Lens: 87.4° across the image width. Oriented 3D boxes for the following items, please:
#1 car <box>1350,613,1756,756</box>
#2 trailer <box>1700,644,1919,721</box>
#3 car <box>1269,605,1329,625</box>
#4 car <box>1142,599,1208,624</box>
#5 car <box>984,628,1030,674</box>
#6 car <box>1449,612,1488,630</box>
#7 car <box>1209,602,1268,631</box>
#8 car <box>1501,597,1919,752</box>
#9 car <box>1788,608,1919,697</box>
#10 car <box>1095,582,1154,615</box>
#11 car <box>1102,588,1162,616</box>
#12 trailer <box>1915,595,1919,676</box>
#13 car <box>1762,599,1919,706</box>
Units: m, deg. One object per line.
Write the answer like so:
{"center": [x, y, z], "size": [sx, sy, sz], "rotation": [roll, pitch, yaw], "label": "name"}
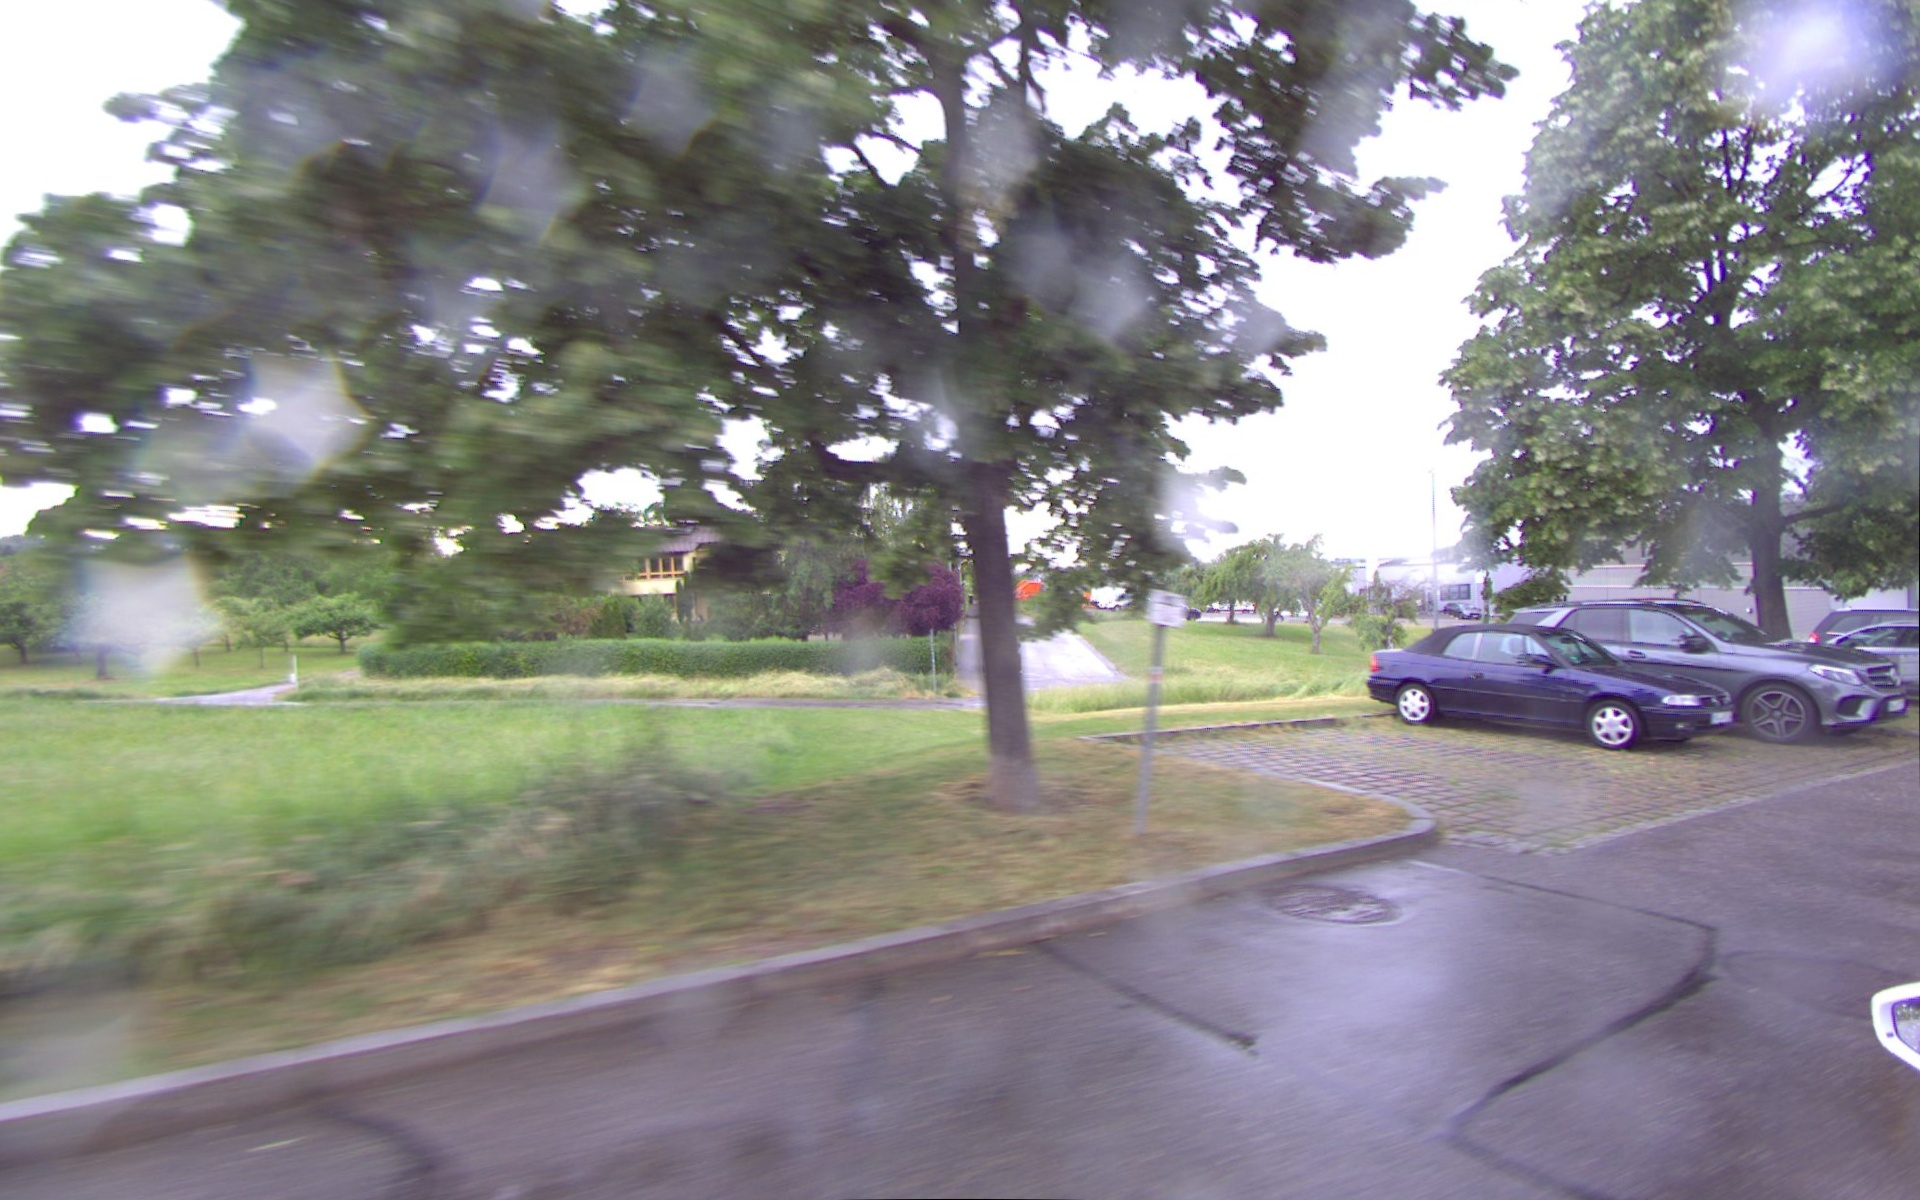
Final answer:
{"center": [7.429, 0.951, 13.011], "size": [1.755, 1.450, 4.187], "rotation": [2, -1, -33], "label": "car"}
{"center": [14.706, 1.314, 16.266], "size": [1.975, 0.974, 3.926], "rotation": [1, 0, -27], "label": "trailer"}
{"center": [29.729, 1.368, 88.132], "size": [4.527, 1.670, 2.292], "rotation": [0, -2, 2], "label": "car"}
{"center": [18.940, 1.030, 88.739], "size": [5.314, 2.000, 2.292], "rotation": [1, -2, 2], "label": "car"}
{"center": [2.403, 2.622, 52.286], "size": [1.893, 2.249, 4.502], "rotation": [0, -2, -4], "label": "car"}
{"center": [49.118, 2.013, 97.095], "size": [1.960, 1.639, 4.001], "rotation": [1, 0, 3], "label": "car"}
{"center": [34.270, 2.110, 123.749], "size": [6.596, 3.470, 2.546], "rotation": [0, -2, 2], "label": "car"}
{"center": [10.070, 0.887, 13.712], "size": [2.020, 1.744, 4.348], "rotation": [2, -1, -29], "label": "car"}
{"center": [19.008, 1.053, 19.183], "size": [1.782, 1.611, 4.603], "rotation": [2, 1, -25], "label": "car"}
{"center": [18.247, -0.127, 111.655], "size": [6.175, 3.475, 2.001], "rotation": [1, -1, 2], "label": "car"}
{"center": [17.654, 0.201, 103.146], "size": [5.701, 2.738, 1.998], "rotation": [1, 1, -5], "label": "car"}
{"center": [25.455, 0.869, 23.491], "size": [1.750, 2.010, 4.199], "rotation": [2, -1, -25], "label": "trailer"}
{"center": [16.982, 0.938, 17.628], "size": [1.998, 1.745, 4.062], "rotation": [2, 1, -24], "label": "car"}
